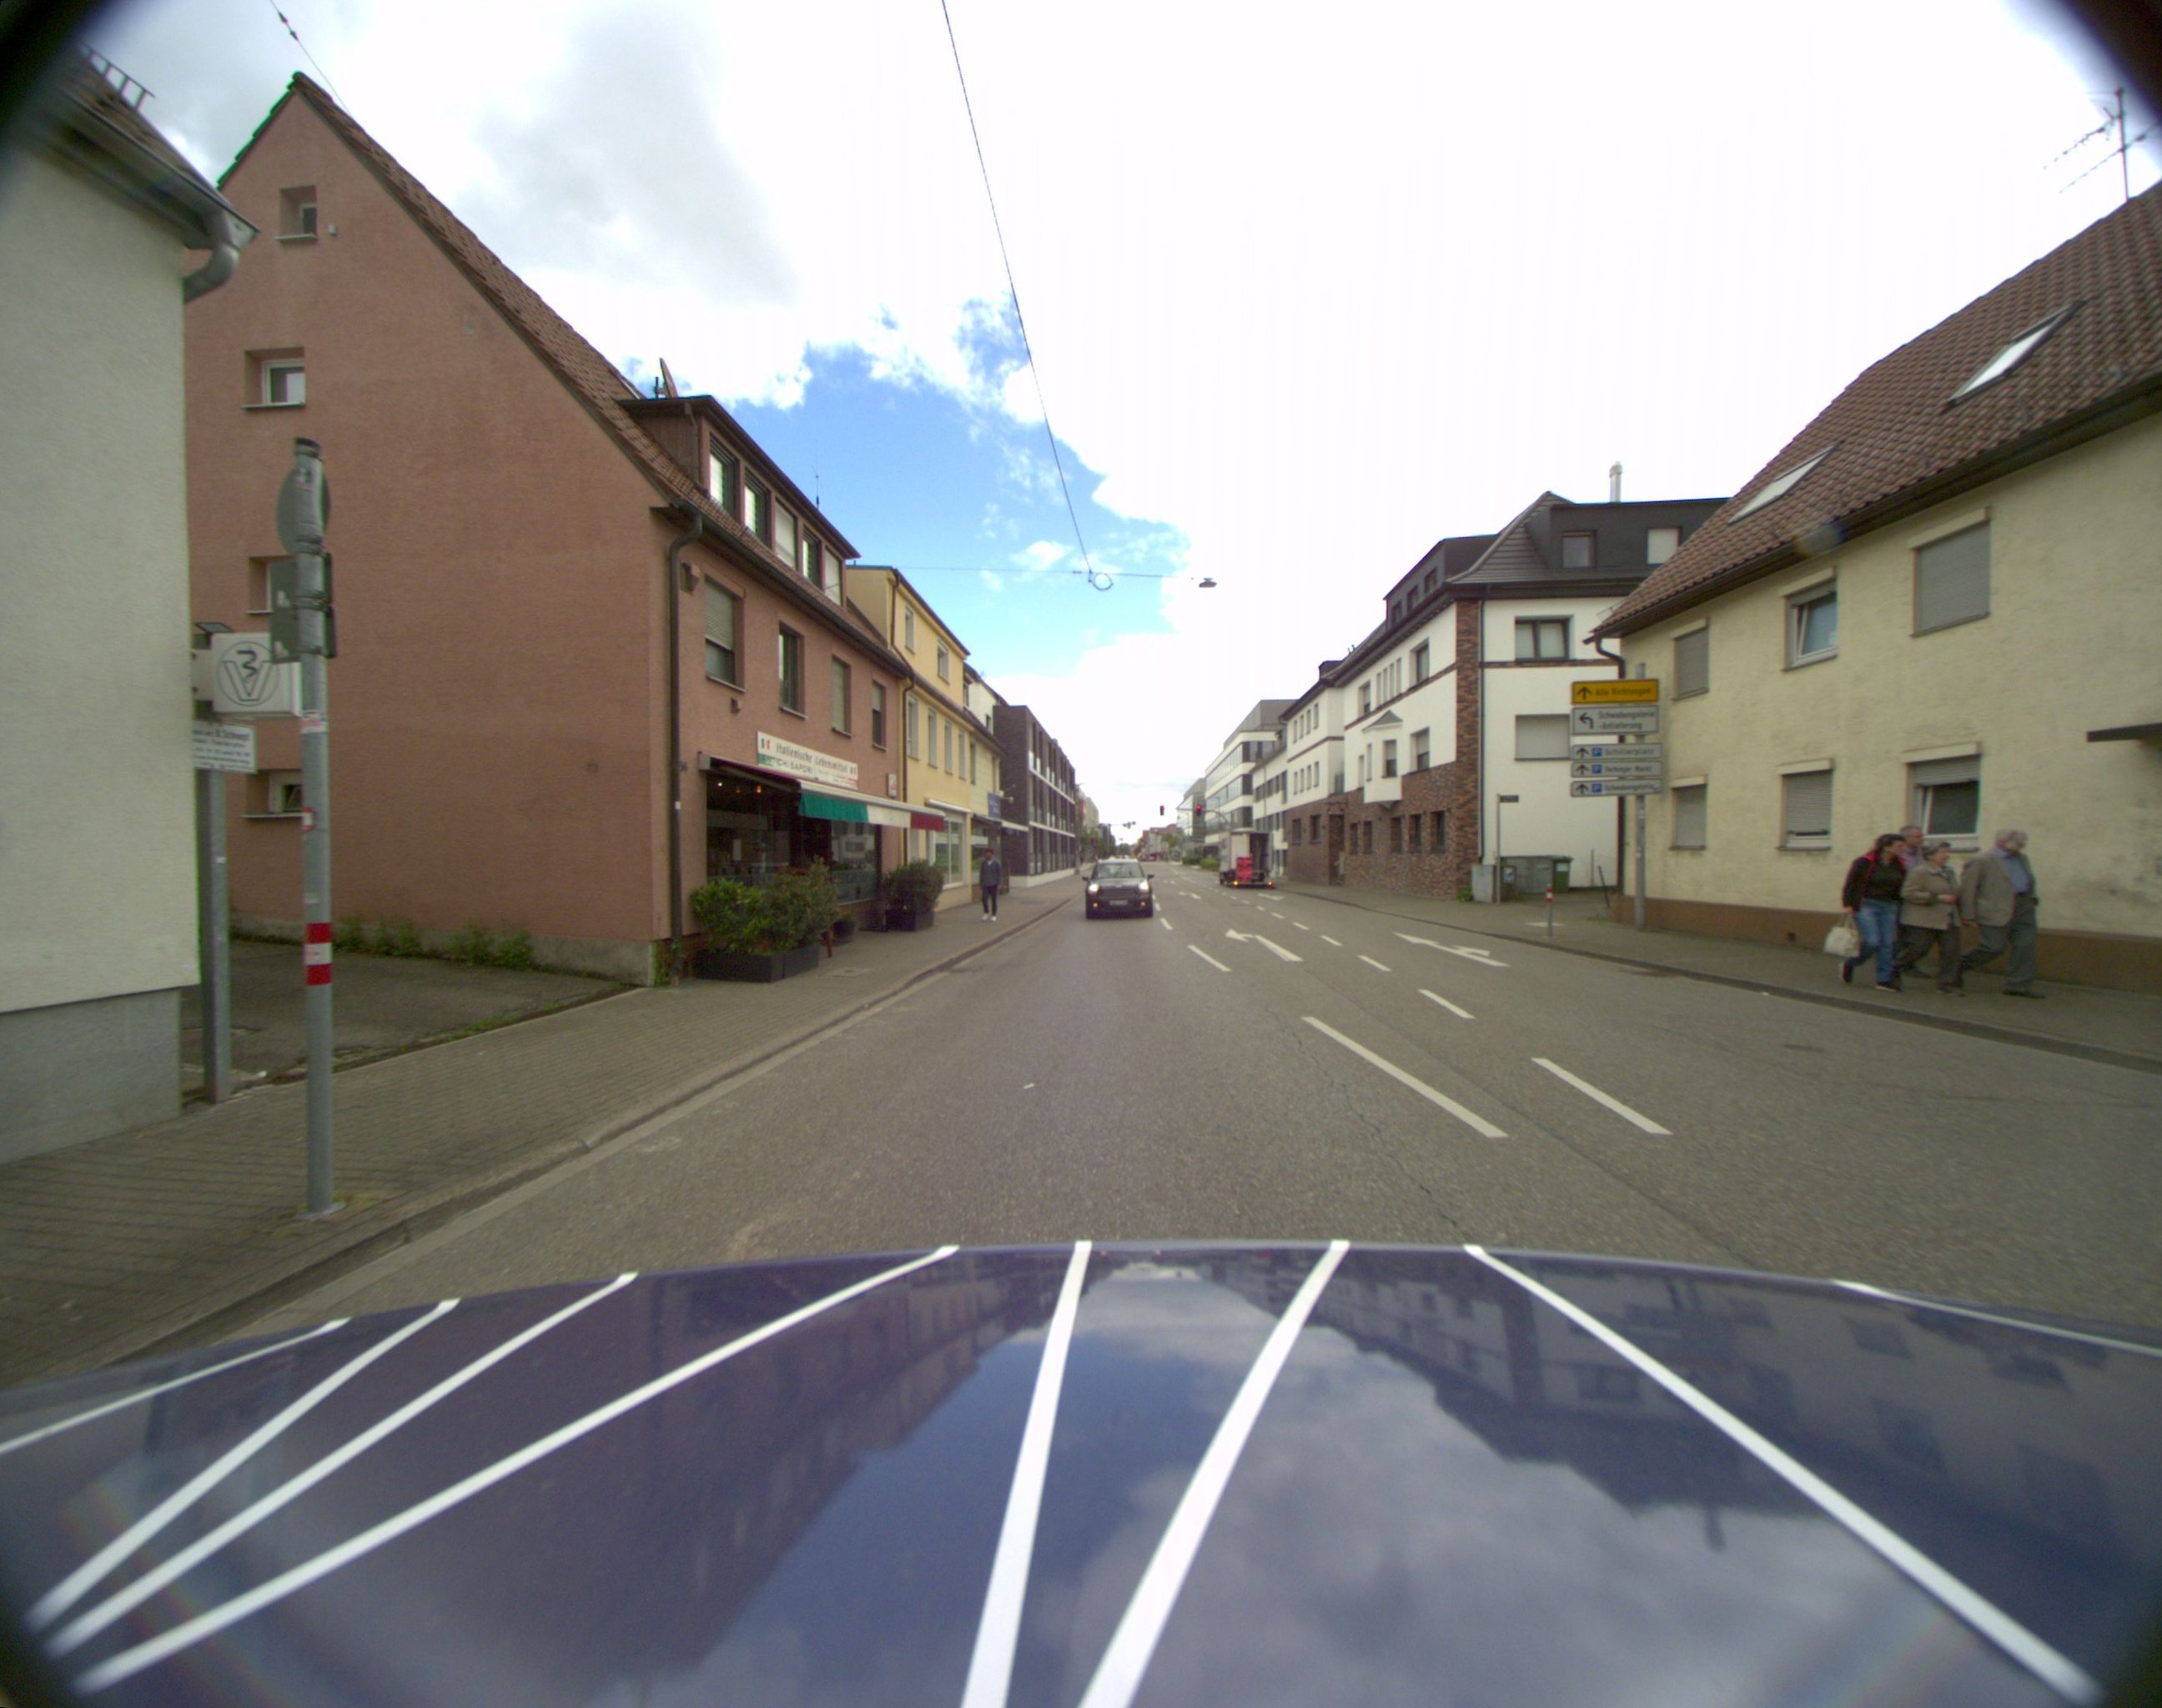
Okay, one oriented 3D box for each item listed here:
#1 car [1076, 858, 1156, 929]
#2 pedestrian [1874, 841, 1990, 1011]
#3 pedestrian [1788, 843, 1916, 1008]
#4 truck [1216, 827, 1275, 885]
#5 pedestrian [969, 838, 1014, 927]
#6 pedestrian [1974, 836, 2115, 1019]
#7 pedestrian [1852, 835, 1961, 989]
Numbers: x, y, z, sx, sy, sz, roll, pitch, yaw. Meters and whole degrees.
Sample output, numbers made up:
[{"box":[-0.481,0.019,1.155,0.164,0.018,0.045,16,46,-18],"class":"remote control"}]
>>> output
[{"box":[0.993,0.955,20.356,1.847,1.570,4.430,-3,0,4],"class":"car"},{"box":[9.006,0.735,8.065,0.497,1.727,0.648,0,1,4],"class":"pedestrian"},{"box":[8.415,0.750,8.326,0.679,1.727,0.717,0,0,4],"class":"pedestrian"},{"box":[9.080,0.116,42.413,2.467,2.954,5.967,-1,0,6],"class":"truck"},{"box":[-2.167,0.661,18.459,0.826,2.062,1.011,3,1,4],"class":"pedestrian"},{"box":[9.441,0.692,7.473,0.554,1.727,0.648,0,1,4],"class":"pedestrian"},{"box":[9.574,0.653,8.835,0.554,1.727,0.648,0,1,4],"class":"pedestrian"}]
